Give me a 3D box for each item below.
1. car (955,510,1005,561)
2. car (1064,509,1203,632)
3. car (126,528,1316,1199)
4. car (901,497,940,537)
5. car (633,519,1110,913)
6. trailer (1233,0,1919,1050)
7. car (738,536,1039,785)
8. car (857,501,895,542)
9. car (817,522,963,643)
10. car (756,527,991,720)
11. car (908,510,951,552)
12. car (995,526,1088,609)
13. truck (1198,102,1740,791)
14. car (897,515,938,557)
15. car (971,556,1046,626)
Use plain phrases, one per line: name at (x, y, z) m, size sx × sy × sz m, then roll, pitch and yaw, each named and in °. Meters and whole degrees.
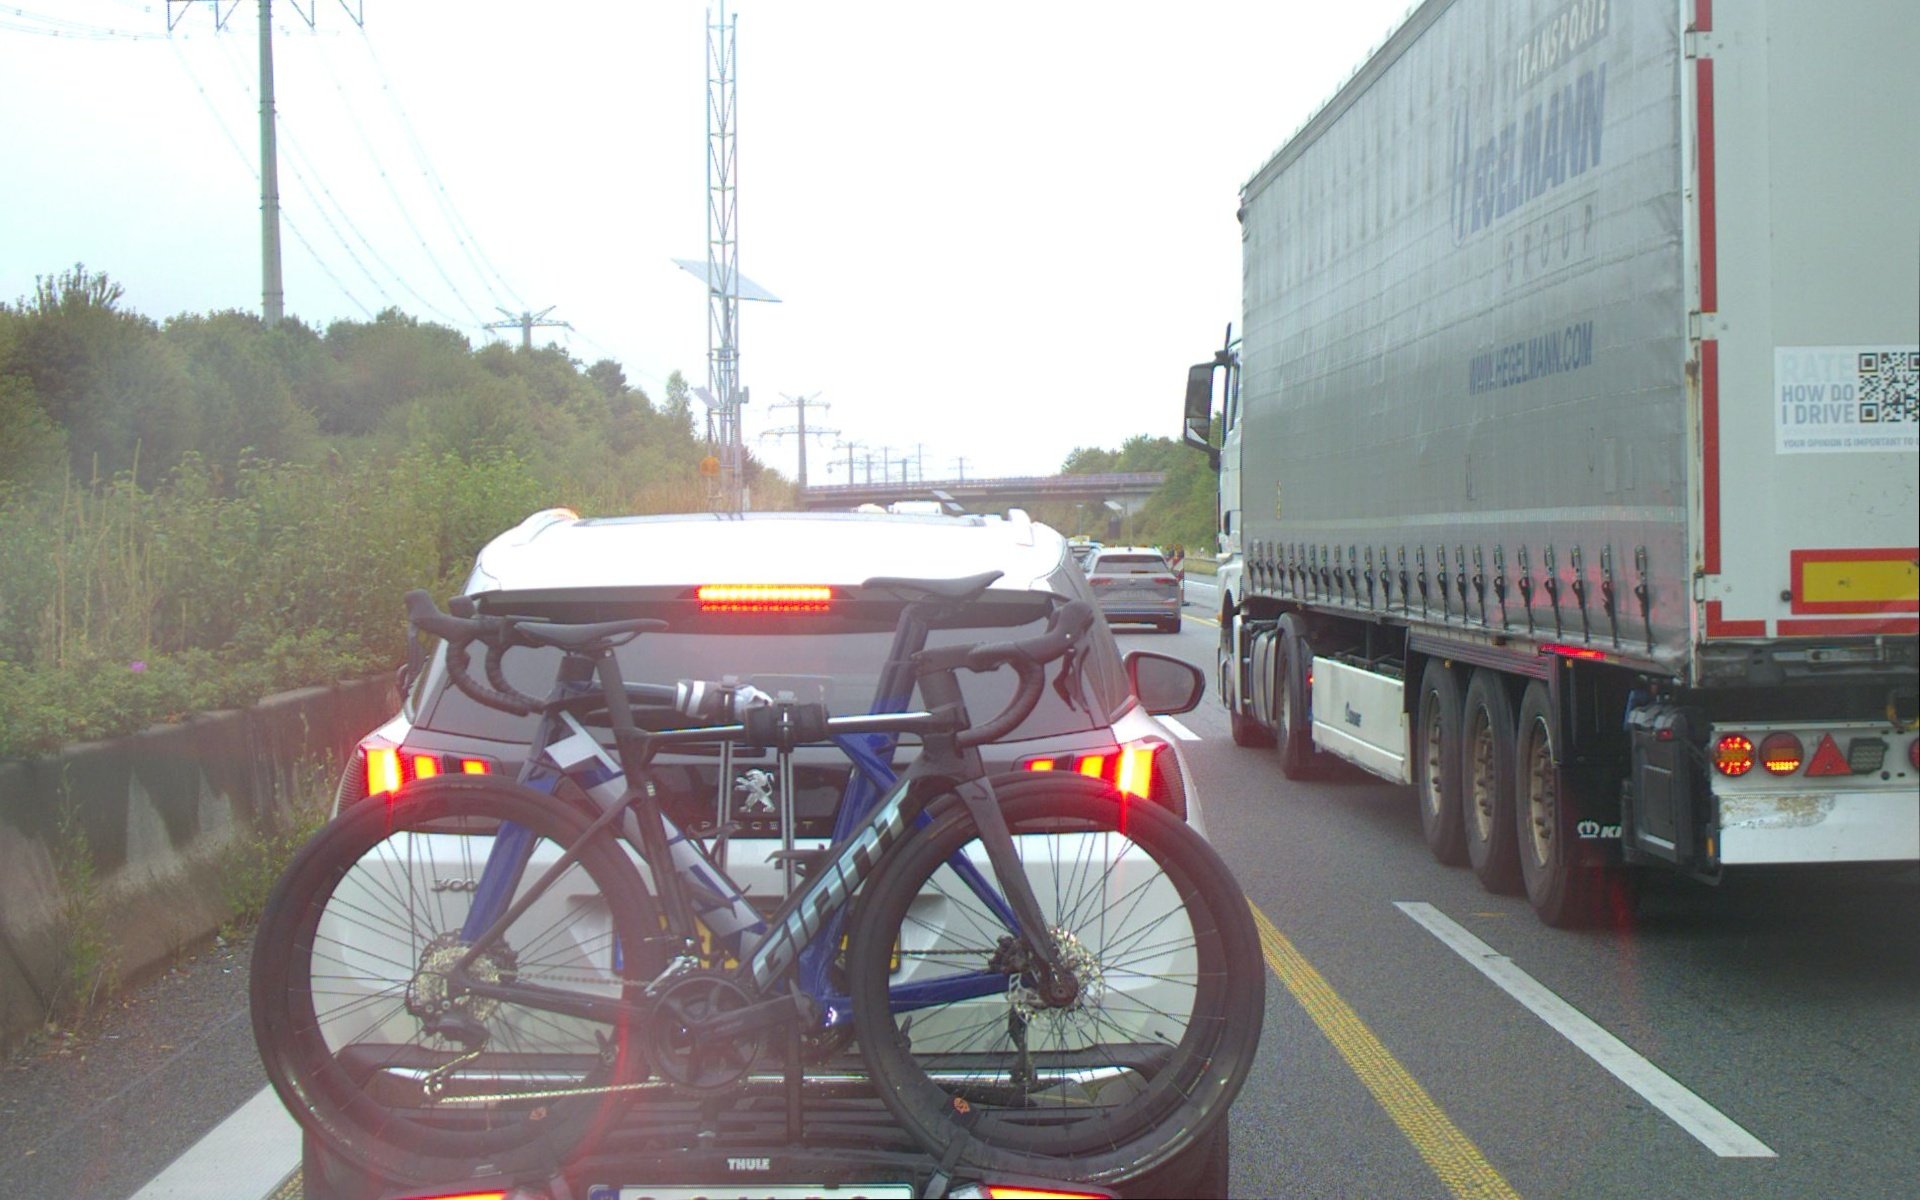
car at (0.792, -2.593, 137.923) m, size 1.931 × 1.966 × 4.001 m, roll 0°, pitch 2°, yaw -1°
car at (2.910, -0.540, 58.391) m, size 2.110 × 1.966 × 4.001 m, roll 0°, pitch 2°, yaw -1°
car at (-0.398, 0.608, 7.746) m, size 1.850 × 1.525 × 4.769 m, roll 0°, pitch 1°, yaw -1°
car at (-1.982, -4.155, 171.417) m, size 1.931 × 1.966 × 4.001 m, roll 0°, pitch 2°, yaw -1°
car at (-0.364, 0.414, 15.351) m, size 1.850 × 1.525 × 4.000 m, roll 0°, pitch 1°, yaw -1°
trailer at (3.328, -0.805, 17.115) m, size 2.692 × 4.062 × 13.634 m, roll 0°, pitch 1°, yaw -1°
car at (-0.463, 0.337, 23.188) m, size 1.850 × 1.525 × 4.000 m, roll 0°, pitch 1°, yaw -1°
car at (-5.022, -4.727, 205.851) m, size 2.257 × 2.416 × 4.001 m, roll 0°, pitch 2°, yaw -1°
car at (-0.907, -0.259, 45.690) m, size 1.850 × 1.525 × 4.000 m, roll 0°, pitch 1°, yaw -1°
car at (-0.706, 0.148, 29.190) m, size 1.850 × 1.525 × 4.000 m, roll 0°, pitch 1°, yaw -1°
car at (-1.405, -3.197, 158.711) m, size 1.931 × 1.904 × 4.001 m, roll 0°, pitch 2°, yaw -1°
car at (2.015, -0.832, 86.344) m, size 2.148 × 1.966 × 4.001 m, roll 0°, pitch 2°, yaw -1°
truck at (3.232, -0.962, 23.568) m, size 2.660 × 4.062 × 6.539 m, roll 0°, pitch 1°, yaw -1°
car at (-2.057, -3.101, 165.697) m, size 1.931 × 1.966 × 4.001 m, roll 0°, pitch 2°, yaw -1°
car at (1.422, -0.289, 102.982) m, size 2.148 × 1.966 × 4.001 m, roll 0°, pitch 2°, yaw -1°
